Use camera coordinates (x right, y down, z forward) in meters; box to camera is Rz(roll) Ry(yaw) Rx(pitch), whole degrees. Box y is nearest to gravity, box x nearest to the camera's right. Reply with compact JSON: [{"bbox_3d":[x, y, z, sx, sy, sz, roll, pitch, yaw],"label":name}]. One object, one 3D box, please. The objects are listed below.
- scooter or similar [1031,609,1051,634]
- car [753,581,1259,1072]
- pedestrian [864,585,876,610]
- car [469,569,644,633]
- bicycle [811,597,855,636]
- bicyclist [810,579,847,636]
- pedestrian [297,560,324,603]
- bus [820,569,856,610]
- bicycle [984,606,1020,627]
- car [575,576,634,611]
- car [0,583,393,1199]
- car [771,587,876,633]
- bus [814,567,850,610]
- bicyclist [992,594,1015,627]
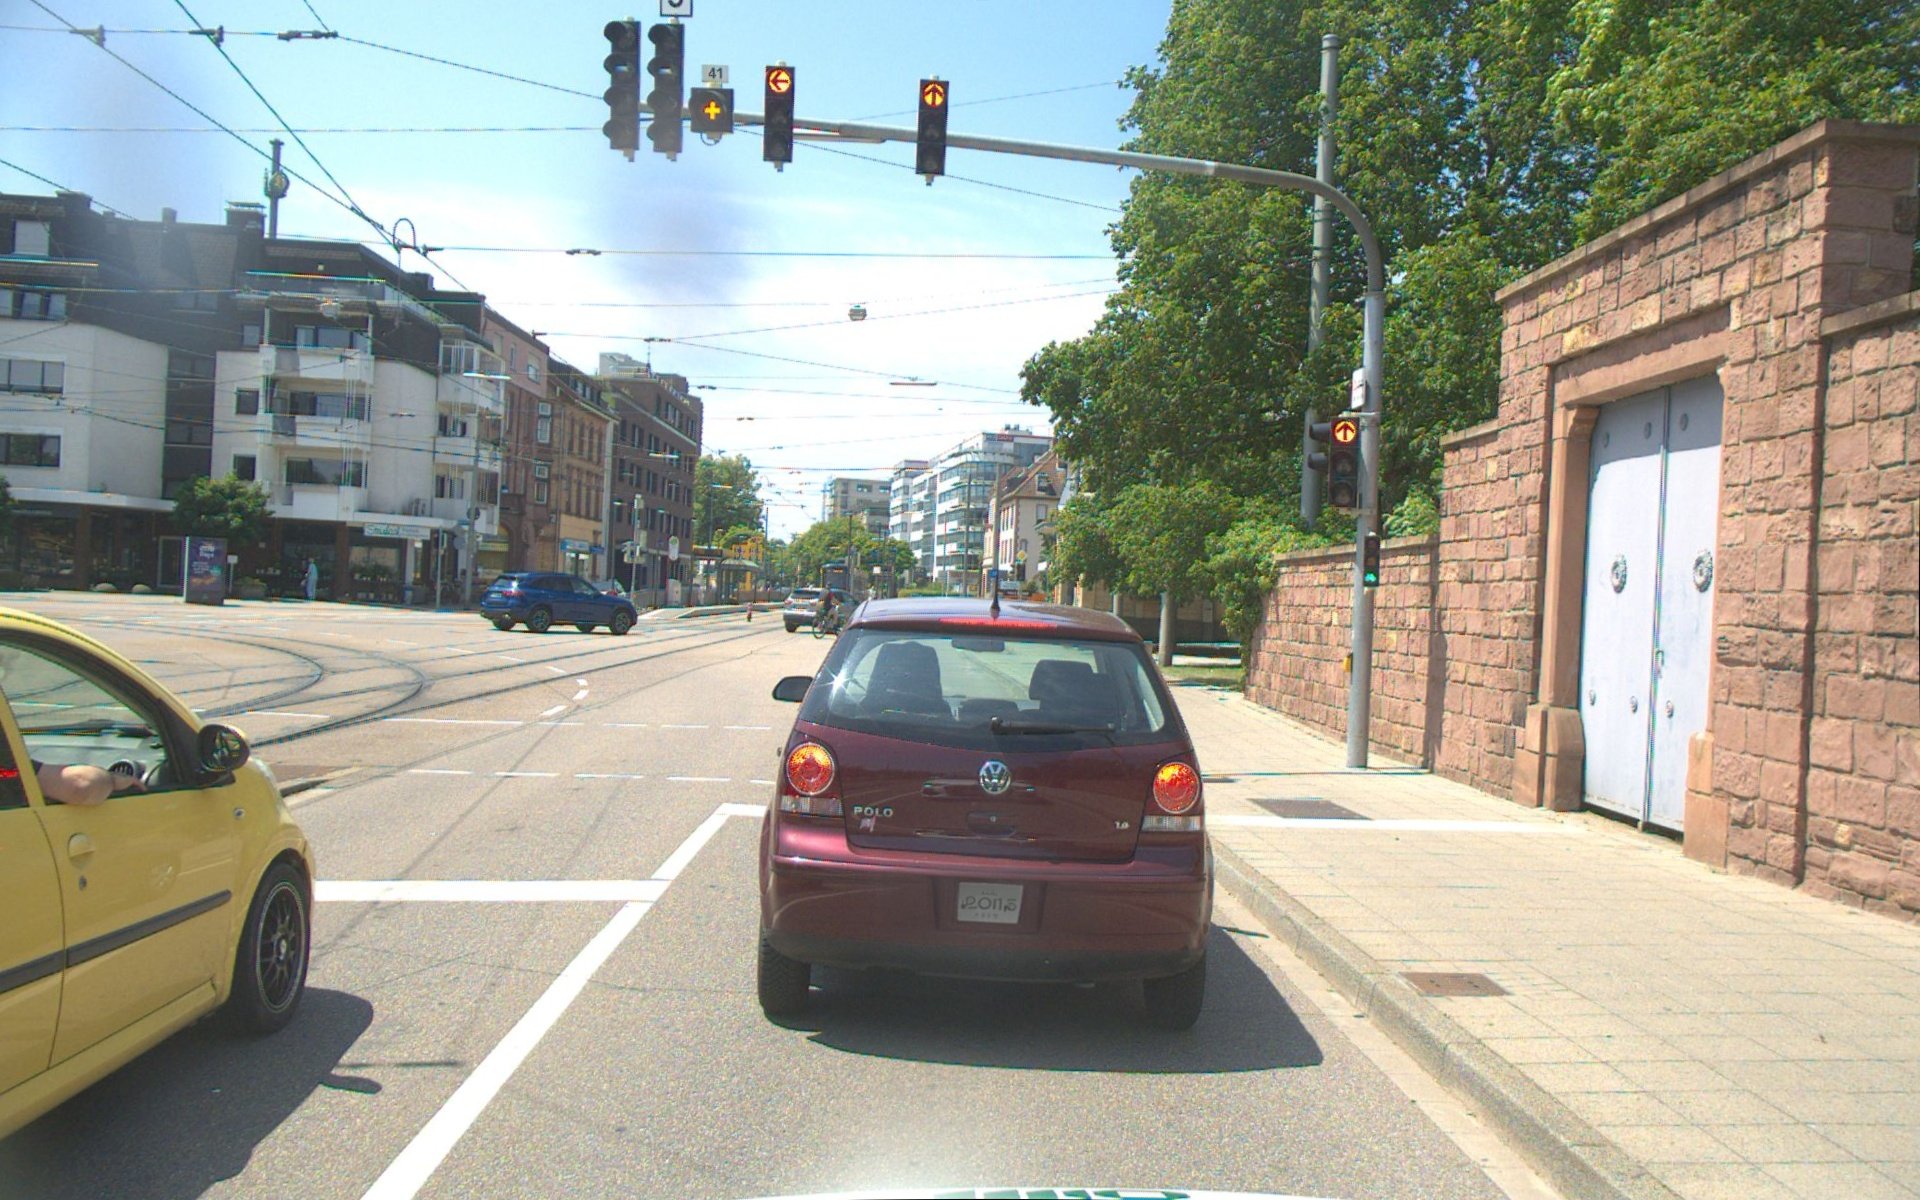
[{"bbox_3d":[4.093,1.073,83.900,0.335,1.198,1.456,3,0,-25],"label":"scooter or similar"},{"bbox_3d":[0.099,0.707,6.701,1.530,1.479,3.060,2,0,-2],"label":"car"},{"bbox_3d":[-6.256,-0.157,115.220,0.747,1.704,1.100,2,0,-1],"label":"pedestrian"},{"bbox_3d":[-11.503,0.055,47.355,1.962,1.653,4.609,2,0,39],"label":"car"},{"bbox_3d":[-4.087,0.542,53.347,0.368,1.218,1.901,2,0,30],"label":"bicycle"},{"bbox_3d":[-4.228,0.248,53.163,0.714,1.791,0.921,2,0,31],"label":"bicyclist"},{"bbox_3d":[-26.823,-0.748,68.301,0.789,1.726,0.701,2,0,-4],"label":"pedestrian"},{"bbox_3d":[-9.534,-0.803,129.736,2.187,3.055,6.593,2,0,0],"label":"bus"},{"bbox_3d":[2.180,0.862,86.575,1.840,1.020,0.663,-2,2,-33],"label":"bicycle"},{"bbox_3d":[-17.089,-0.307,79.754,1.953,1.580,4.138,2,0,-1],"label":"car"},{"bbox_3d":[-2.877,0.689,4.393,1.583,1.446,3.654,0,0,-2],"label":"car"},{"bbox_3d":[-4.890,0.382,59.871,1.790,1.556,3.991,2,0,30],"label":"car"},{"bbox_3d":[-9.506,-0.831,123.160,2.101,3.055,6.573,2,0,0],"label":"bus"},{"bbox_3d":[2.269,0.548,86.626,0.849,1.646,0.826,-2,1,-33],"label":"bicyclist"}]
